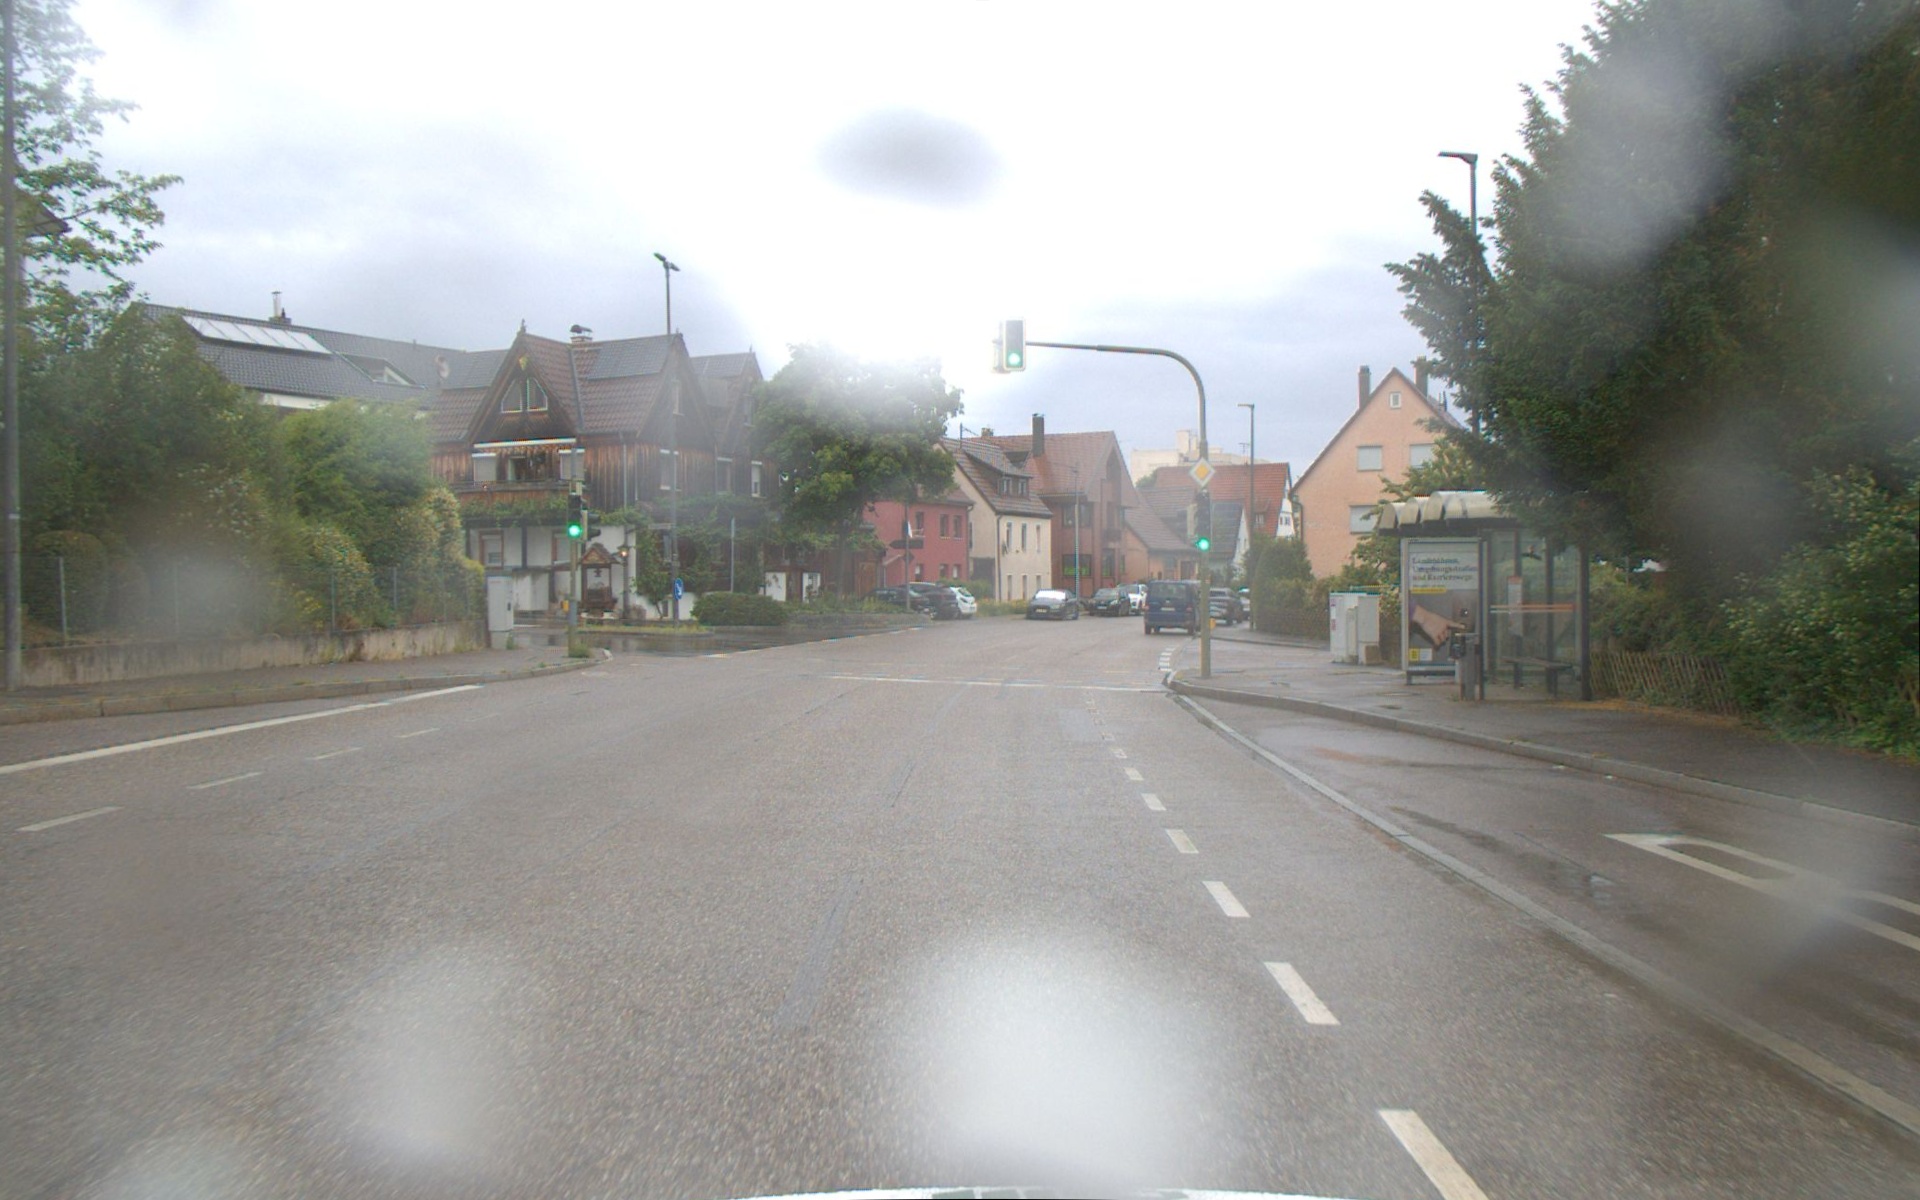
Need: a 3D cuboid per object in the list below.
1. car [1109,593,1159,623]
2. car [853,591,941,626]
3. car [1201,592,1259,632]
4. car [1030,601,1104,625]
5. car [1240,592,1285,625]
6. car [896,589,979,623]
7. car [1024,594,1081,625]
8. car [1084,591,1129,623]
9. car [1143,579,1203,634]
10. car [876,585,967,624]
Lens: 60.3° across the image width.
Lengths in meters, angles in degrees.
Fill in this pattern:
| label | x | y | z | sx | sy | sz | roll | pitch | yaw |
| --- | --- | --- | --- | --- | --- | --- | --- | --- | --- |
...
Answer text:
| label | x | y | z | sx | sy | sz | roll | pitch | yaw |
| --- | --- | --- | --- | --- | --- | --- | --- | --- | --- |
| car | 9.773 | 0.423 | 92.535 | 1.728 | 1.647 | 4.657 | -1 | 0 | 20 |
| car | -2.657 | 0.367 | 69.875 | 3.375 | 1.443 | 1.632 | -1 | 0 | 22 |
| car | 12.611 | 0.517 | 77.086 | 1.869 | 1.747 | 4.557 | 2 | 1 | 20 |
| car | 6.430 | 0.783 | 99.878 | 4.091 | 1.427 | 1.787 | -1 | 0 | 27 |
| car | 15.881 | 0.432 | 86.630 | 1.765 | 1.623 | 4.614 | 1 | 0 | 17 |
| car | -1.002 | 0.259 | 74.569 | 3.390 | 1.505 | 1.590 | -1 | 0 | 22 |
| car | 4.390 | 0.430 | 77.919 | 1.593 | 1.379 | 4.112 | 2 | 1 | 18 |
| car | 7.808 | 0.370 | 87.808 | 1.572 | 1.646 | 3.277 | -1 | 0 | 20 |
| car | 8.090 | 0.223 | 62.468 | 1.889 | 1.935 | 4.797 | 1 | 0 | 11 |
| car | -1.665 | 0.176 | 72.349 | 3.504 | 1.532 | 1.855 | 2 | 1 | 24 |
